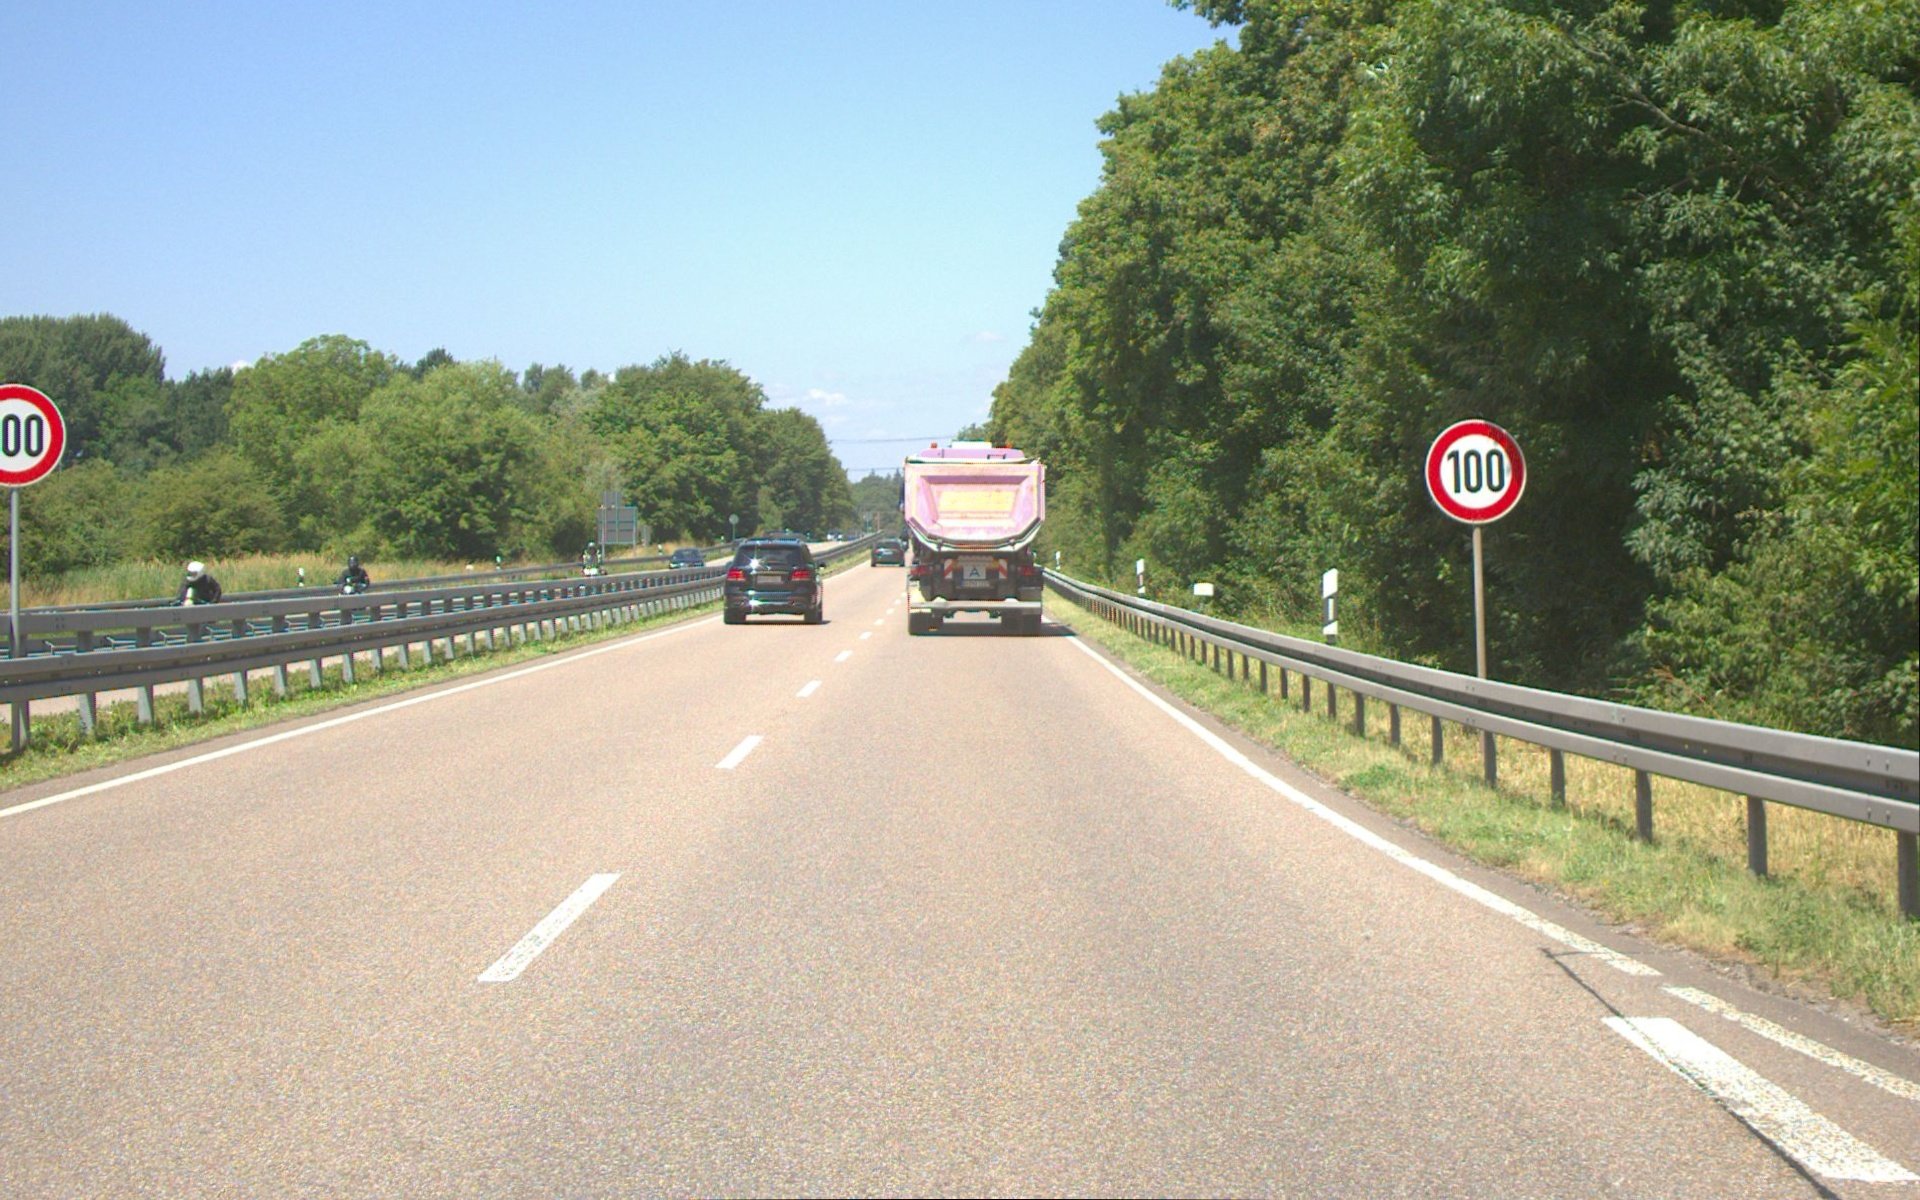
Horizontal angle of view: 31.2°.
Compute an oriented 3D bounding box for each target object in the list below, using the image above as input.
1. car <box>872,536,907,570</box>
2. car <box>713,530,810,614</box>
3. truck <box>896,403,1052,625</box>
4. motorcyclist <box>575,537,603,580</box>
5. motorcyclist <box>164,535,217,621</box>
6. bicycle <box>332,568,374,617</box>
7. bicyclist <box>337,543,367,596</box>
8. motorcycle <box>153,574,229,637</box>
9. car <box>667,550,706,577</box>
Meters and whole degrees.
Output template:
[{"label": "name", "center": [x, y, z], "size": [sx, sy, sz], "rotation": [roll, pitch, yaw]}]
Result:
[{"label": "car", "center": [-3.811, -2.550, 186.468], "size": [1.857, 1.712, 4.000], "rotation": [1, 0, -1]}, {"label": "car", "center": [-4.128, -0.562, 72.074], "size": [1.857, 1.665, 4.000], "rotation": [1, 0, -1]}, {"label": "truck", "center": [0.150, -1.656, 67.336], "size": [2.720, 3.916, 12.371], "rotation": [1, 1, -1]}, {"label": "motorcyclist", "center": [-13.806, -1.543, 127.972], "size": [0.945, 1.611, 0.809], "rotation": [-1, 1, -1]}, {"label": "motorcyclist", "center": [-13.451, -0.388, 60.106], "size": [0.718, 1.477, 0.809], "rotation": [0, 0, 1]}, {"label": "bicycle", "center": [-14.674, -0.186, 83.115], "size": [0.613, 1.153, 2.280], "rotation": [0, 1, 0]}, {"label": "bicyclist", "center": [-14.663, -0.743, 82.920], "size": [0.613, 1.273, 0.608], "rotation": [0, 0, 0]}, {"label": "motorcycle", "center": [-13.432, 0.081, 60.091], "size": [0.726, 1.061, 2.667], "rotation": [0, 1, 0]}, {"label": "car", "center": [-13.380, -1.790, 168.147], "size": [1.628, 1.327, 3.535], "rotation": [0, 1, 0]}]
